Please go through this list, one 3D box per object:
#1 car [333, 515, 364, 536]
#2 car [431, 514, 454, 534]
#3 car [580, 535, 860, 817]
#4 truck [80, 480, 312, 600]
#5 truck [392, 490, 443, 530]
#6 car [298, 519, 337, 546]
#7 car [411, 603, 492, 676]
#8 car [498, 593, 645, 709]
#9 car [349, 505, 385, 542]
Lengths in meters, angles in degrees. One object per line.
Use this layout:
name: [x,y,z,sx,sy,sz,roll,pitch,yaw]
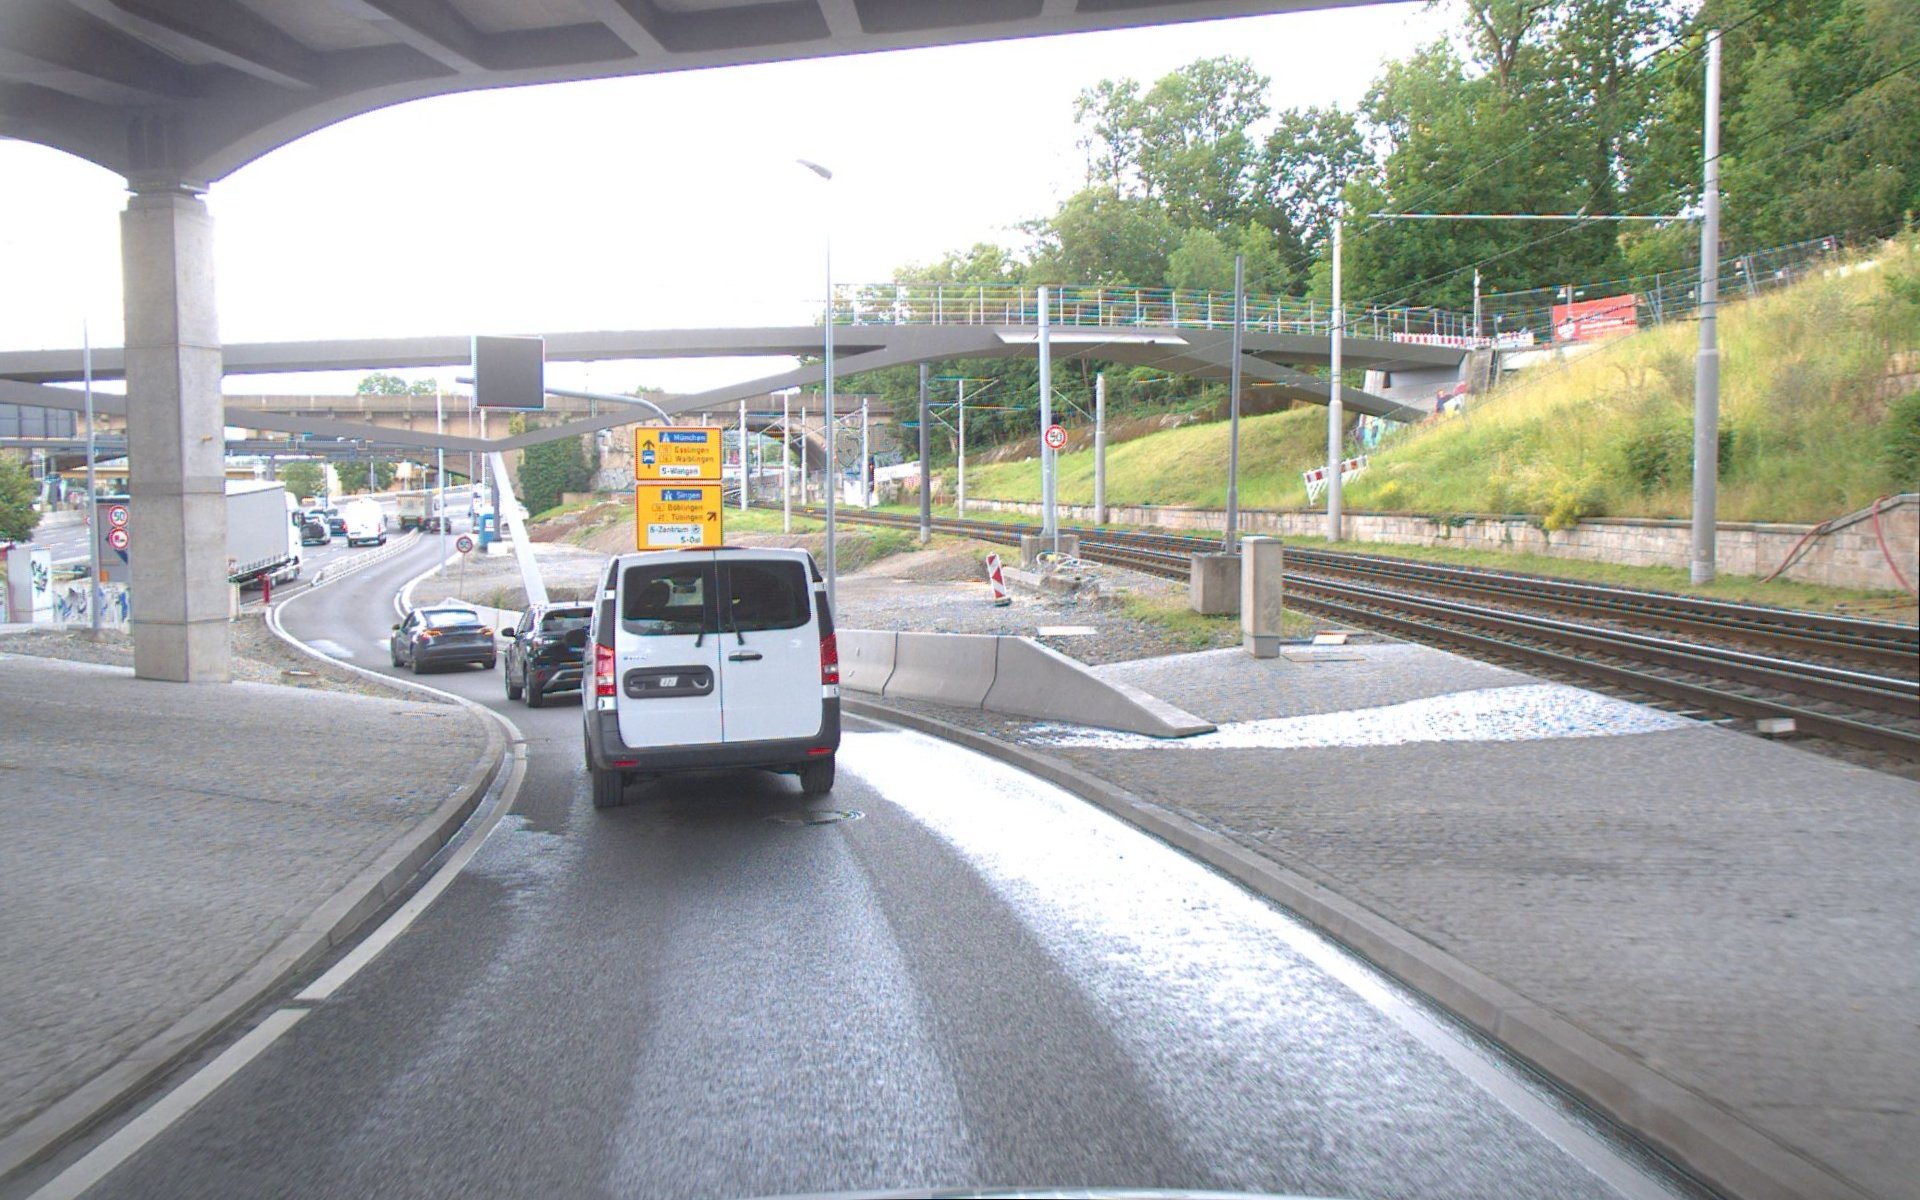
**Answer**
car: [-46.116,-5.571,124.761,1.502,1.535,3.990,0,2,-11]
car: [-43.935,-6.423,140.359,1.596,1.612,3.986,0,2,-14]
car: [-2.198,0.514,13.935,1.845,1.924,4.735,-1,0,-14]
truck: [-28.263,-2.552,62.484,3.254,3.874,16.571,1,4,-8]
truck: [-49.628,-8.195,151.515,3.333,3.204,7.238,2,1,-11]
car: [-39.997,-4.224,103.061,1.616,1.648,3.990,0,2,-11]
car: [-11.830,0.874,38.381,1.480,1.494,3.376,-1,2,-22]
car: [-6.369,0.767,26.858,1.725,1.653,3.819,-3,1,-22]
car: [-35.636,-4.575,99.478,1.869,2.152,4.462,0,2,-18]
